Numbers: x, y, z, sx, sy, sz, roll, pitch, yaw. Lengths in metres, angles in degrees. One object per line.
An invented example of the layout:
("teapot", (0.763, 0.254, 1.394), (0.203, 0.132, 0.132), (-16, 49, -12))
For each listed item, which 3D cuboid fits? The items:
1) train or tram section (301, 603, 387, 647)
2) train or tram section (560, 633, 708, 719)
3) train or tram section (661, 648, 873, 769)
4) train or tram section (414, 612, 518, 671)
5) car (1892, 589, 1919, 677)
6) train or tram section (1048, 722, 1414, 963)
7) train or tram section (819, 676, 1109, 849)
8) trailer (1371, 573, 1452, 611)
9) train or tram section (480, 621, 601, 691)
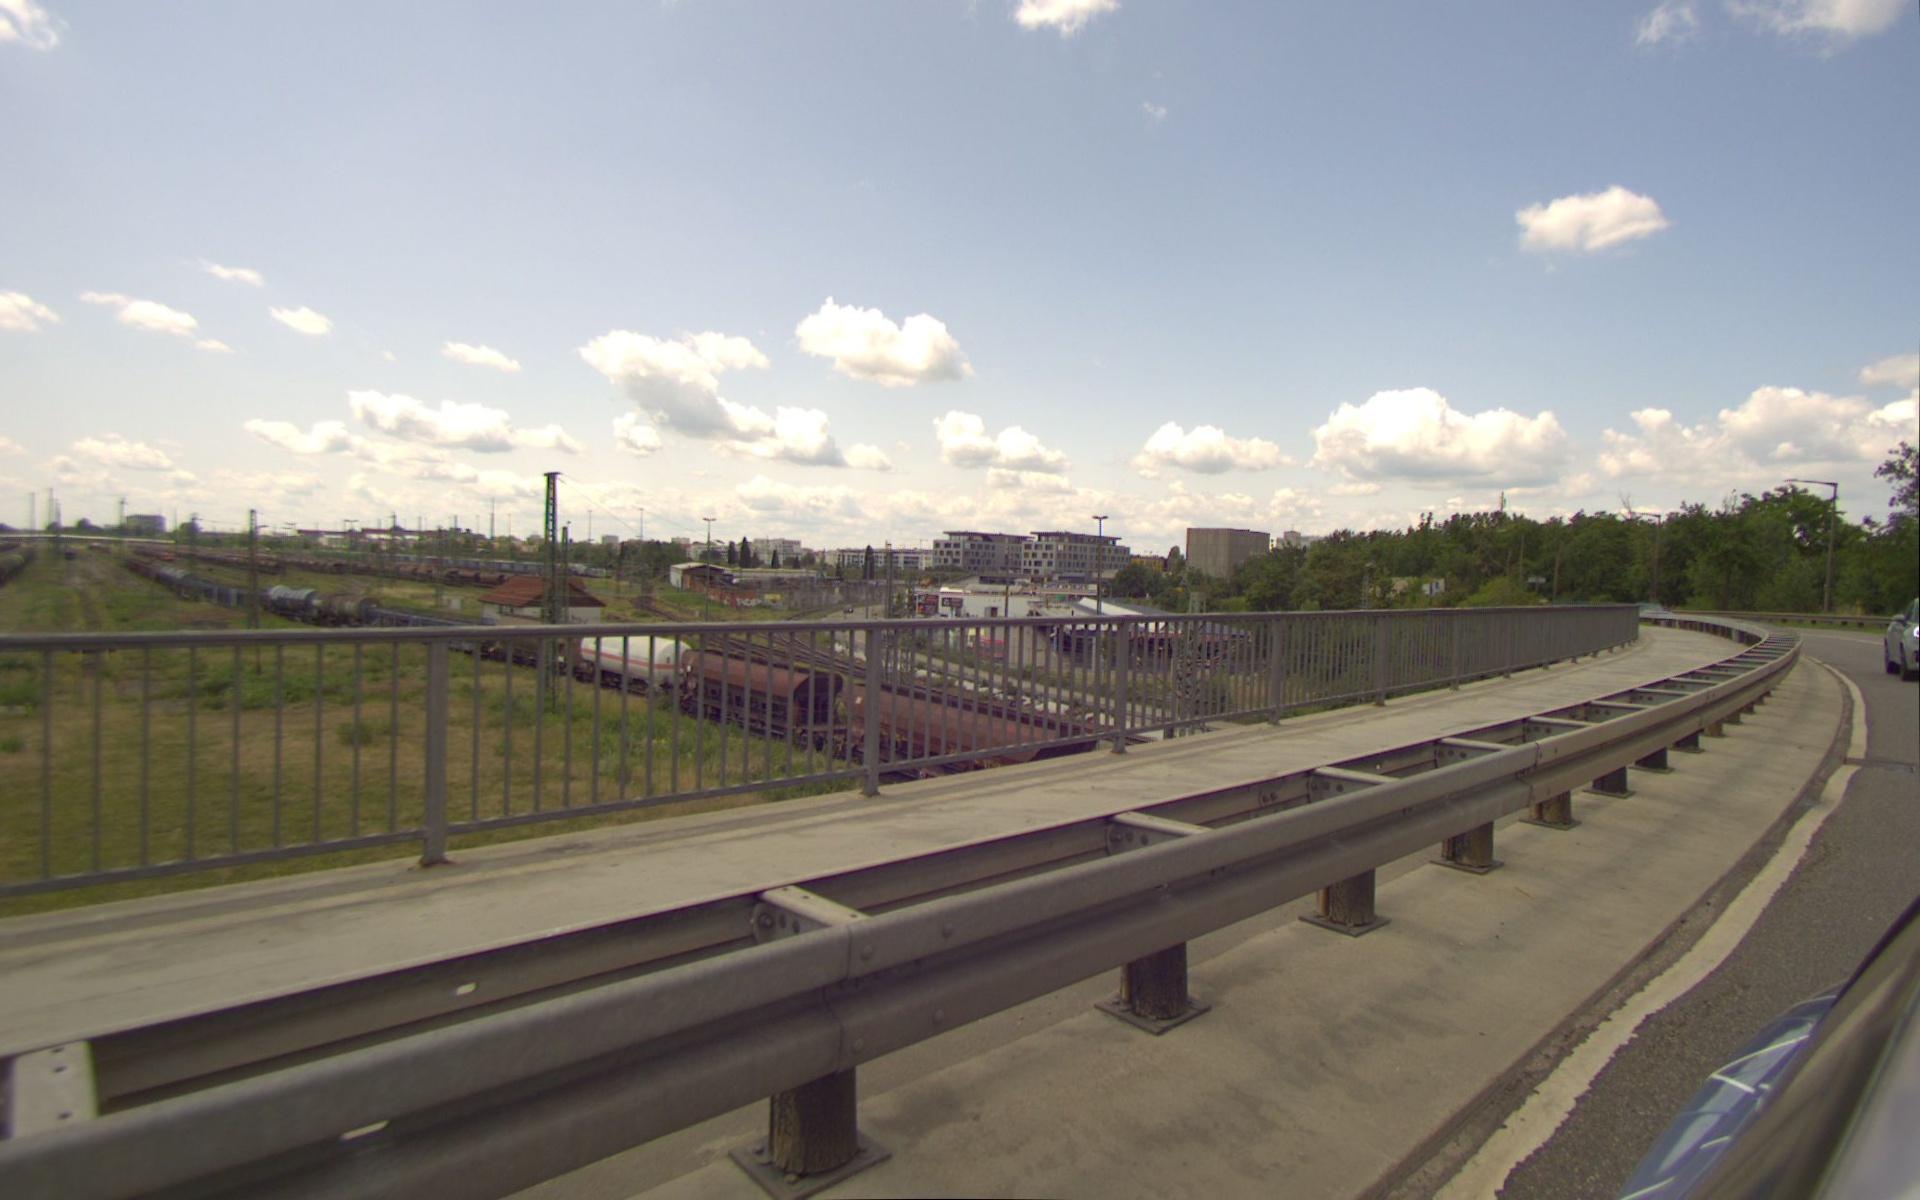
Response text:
("train or tram section", (-72.128, 2.793, 118.275), (15.884, 4.202, 3.170), (2, 4, 39))
("train or tram section", (-23.339, 5.027, 71.289), (3.165, 4.202, 16.934), (-4, 5, -42))
("train or tram section", (-11.625, 5.704, 57.674), (3.164, 4.202, 18.882), (-3, 4, -39))
("train or tram section", (-47.472, 3.756, 96.669), (17.647, 4.202, 3.163), (3, 5, 45))
("car", (18.698, 0.591, 18.715), (1.819, 1.544, 3.944), (-1, -1, 38))
("train or tram section", (7.829, 6.982, 32.009), (3.071, 4.202, 12.072), (-3, 4, -34))
("train or tram section", (-0.637, 6.383, 43.645), (3.084, 4.202, 16.605), (-3, 4, -37))
("trailer", (54.526, -0.973, 122.747), (2.662, 4.334, 14.241), (0, 0, -3))
("train or tram section", (-35.136, 4.408, 84.019), (3.160, 4.202, 17.660), (-4, 5, -43))
